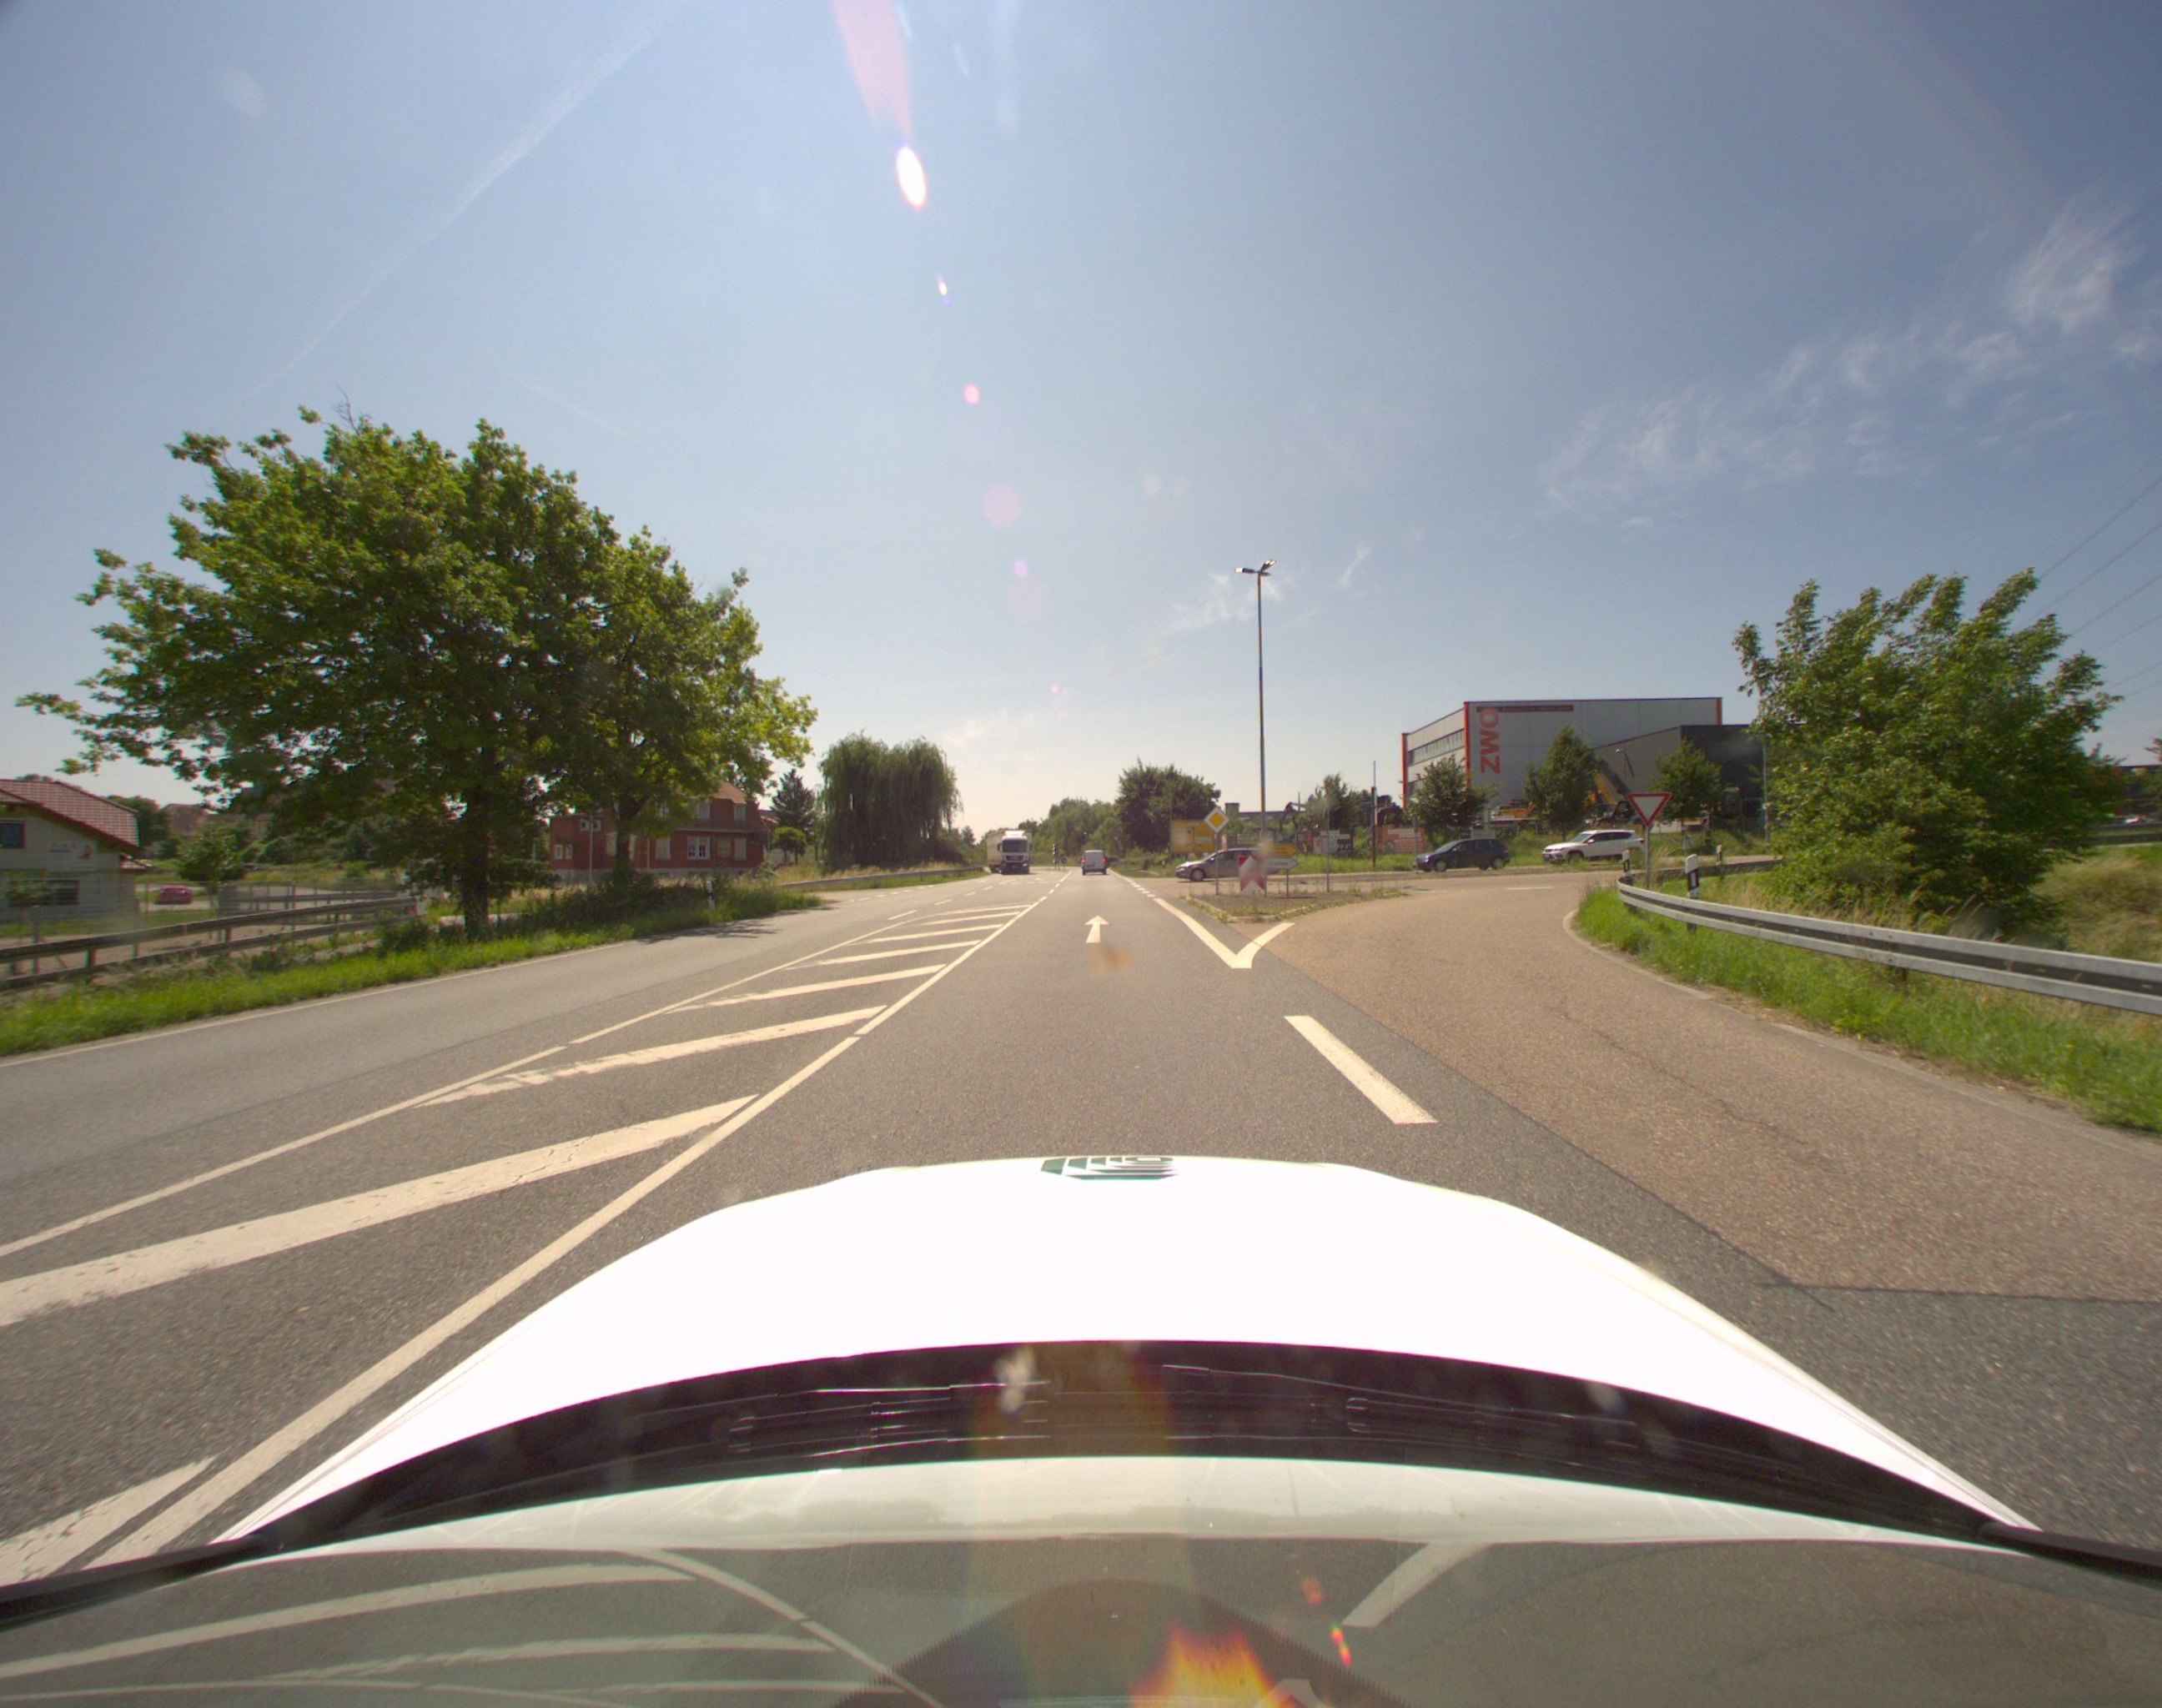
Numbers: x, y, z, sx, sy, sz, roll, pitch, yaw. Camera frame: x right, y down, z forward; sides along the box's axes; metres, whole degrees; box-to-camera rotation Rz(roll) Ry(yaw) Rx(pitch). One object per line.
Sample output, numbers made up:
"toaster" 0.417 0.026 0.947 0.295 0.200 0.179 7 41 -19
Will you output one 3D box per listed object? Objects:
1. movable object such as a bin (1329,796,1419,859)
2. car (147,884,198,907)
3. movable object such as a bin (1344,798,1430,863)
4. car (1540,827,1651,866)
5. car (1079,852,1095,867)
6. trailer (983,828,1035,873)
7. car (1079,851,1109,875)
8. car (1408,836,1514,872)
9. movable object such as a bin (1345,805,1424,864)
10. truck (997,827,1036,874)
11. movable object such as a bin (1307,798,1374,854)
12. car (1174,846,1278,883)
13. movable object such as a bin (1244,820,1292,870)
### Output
"movable object such as a bin" 25.137 -2.231 70.272 6.562 5.148 3.809 1 -2 3
"car" -74.925 3.414 67.142 3.819 1.726 1.815 -1 1 27
"movable object such as a bin" 24.831 -1.861 66.354 5.893 5.105 3.111 1 -2 3
"car" 24.091 -0.349 38.221 4.067 1.621 1.760 -2 1 3
"car" 0.722 0.659 94.151 1.799 1.556 4.001 -1 1 1
"trailer" -7.293 -0.378 80.104 2.795 4.056 13.434 1 0 -15
"car" 0.925 0.655 60.015 1.899 1.732 3.818 -1 -1 -3
"car" 17.149 -0.005 36.870 3.982 1.440 1.636 -2 0 3
"movable object such as a bin" 22.974 -1.450 61.830 5.063 4.275 2.837 1 -2 3
"truck" -5.946 -0.285 74.062 2.791 4.056 6.728 1 0 -11
"movable object such as a bin" 25.185 -2.673 79.252 5.691 5.270 3.224 1 -2 3
"car" 6.608 0.469 37.481 4.495 1.508 1.915 -2 0 1
"movable object such as a bin" 13.083 -0.578 57.329 2.315 3.250 5.101 1 -2 1
